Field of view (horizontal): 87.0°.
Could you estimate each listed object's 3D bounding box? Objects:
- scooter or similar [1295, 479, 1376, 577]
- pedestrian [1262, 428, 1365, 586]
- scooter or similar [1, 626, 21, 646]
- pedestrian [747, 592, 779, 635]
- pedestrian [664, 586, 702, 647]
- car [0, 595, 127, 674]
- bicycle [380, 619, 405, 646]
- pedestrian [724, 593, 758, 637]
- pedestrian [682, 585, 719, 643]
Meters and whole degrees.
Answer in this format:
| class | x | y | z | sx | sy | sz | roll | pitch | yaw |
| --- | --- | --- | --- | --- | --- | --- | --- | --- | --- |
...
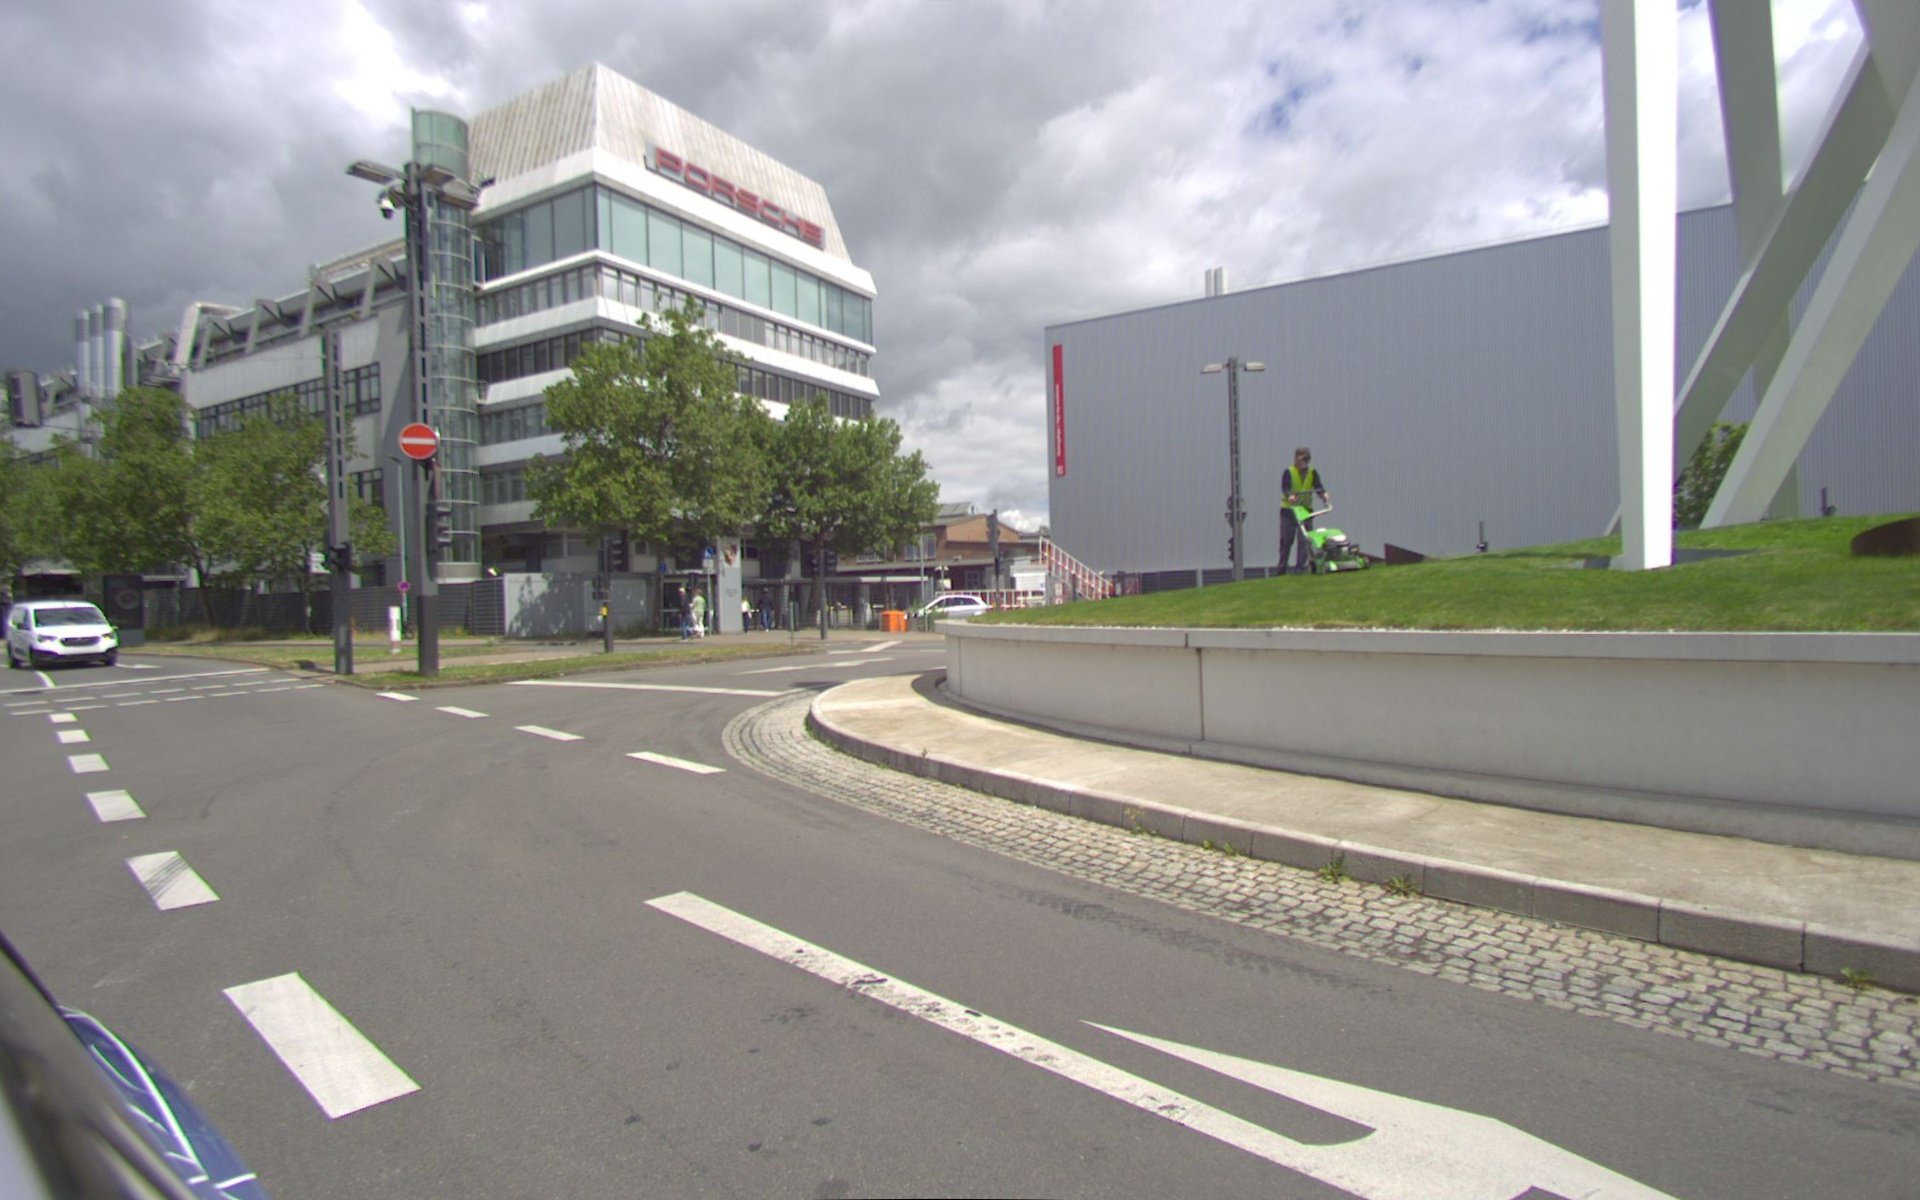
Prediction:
| class | x | y | z | sx | sy | sz | roll | pitch | yaw |
| --- | --- | --- | --- | --- | --- | --- | --- | --- | --- |
| scooter or similar | 4.457 | -0.824 | 12.089 | 0.544 | 1.033 | 1.400 | -8 | -1 | 11 |
| pedestrian | 4.617 | -1.171 | 13.318 | 0.977 | 1.830 | 1.280 | -6 | -3 | 14 |
| scooter or similar | -61.668 | 2.363 | 65.754 | 1.312 | 1.244 | 0.519 | -2 | 2 | 30 |
| pedestrian | -8.305 | 0.555 | 42.729 | 1.026 | 1.787 | 0.861 | -1 | 1 | 17 |
| pedestrian | -9.712 | 0.564 | 35.474 | 0.940 | 2.070 | 0.952 | -2 | 2 | -41 |
| car | -25.090 | 0.982 | 28.235 | 4.382 | 2.029 | 1.804 | -3 | -1 | 36 |
| bicycle | -25.386 | 1.446 | 45.256 | 1.480 | 1.140 | 0.294 | -1 | 1 | 34 |
| pedestrian | -9.025 | 0.604 | 41.713 | 1.026 | 1.787 | 0.861 | -1 | 1 | 17 |
| pedestrian | -9.444 | 0.492 | 36.877 | 0.940 | 2.070 | 0.952 | -2 | 2 | -41 |
